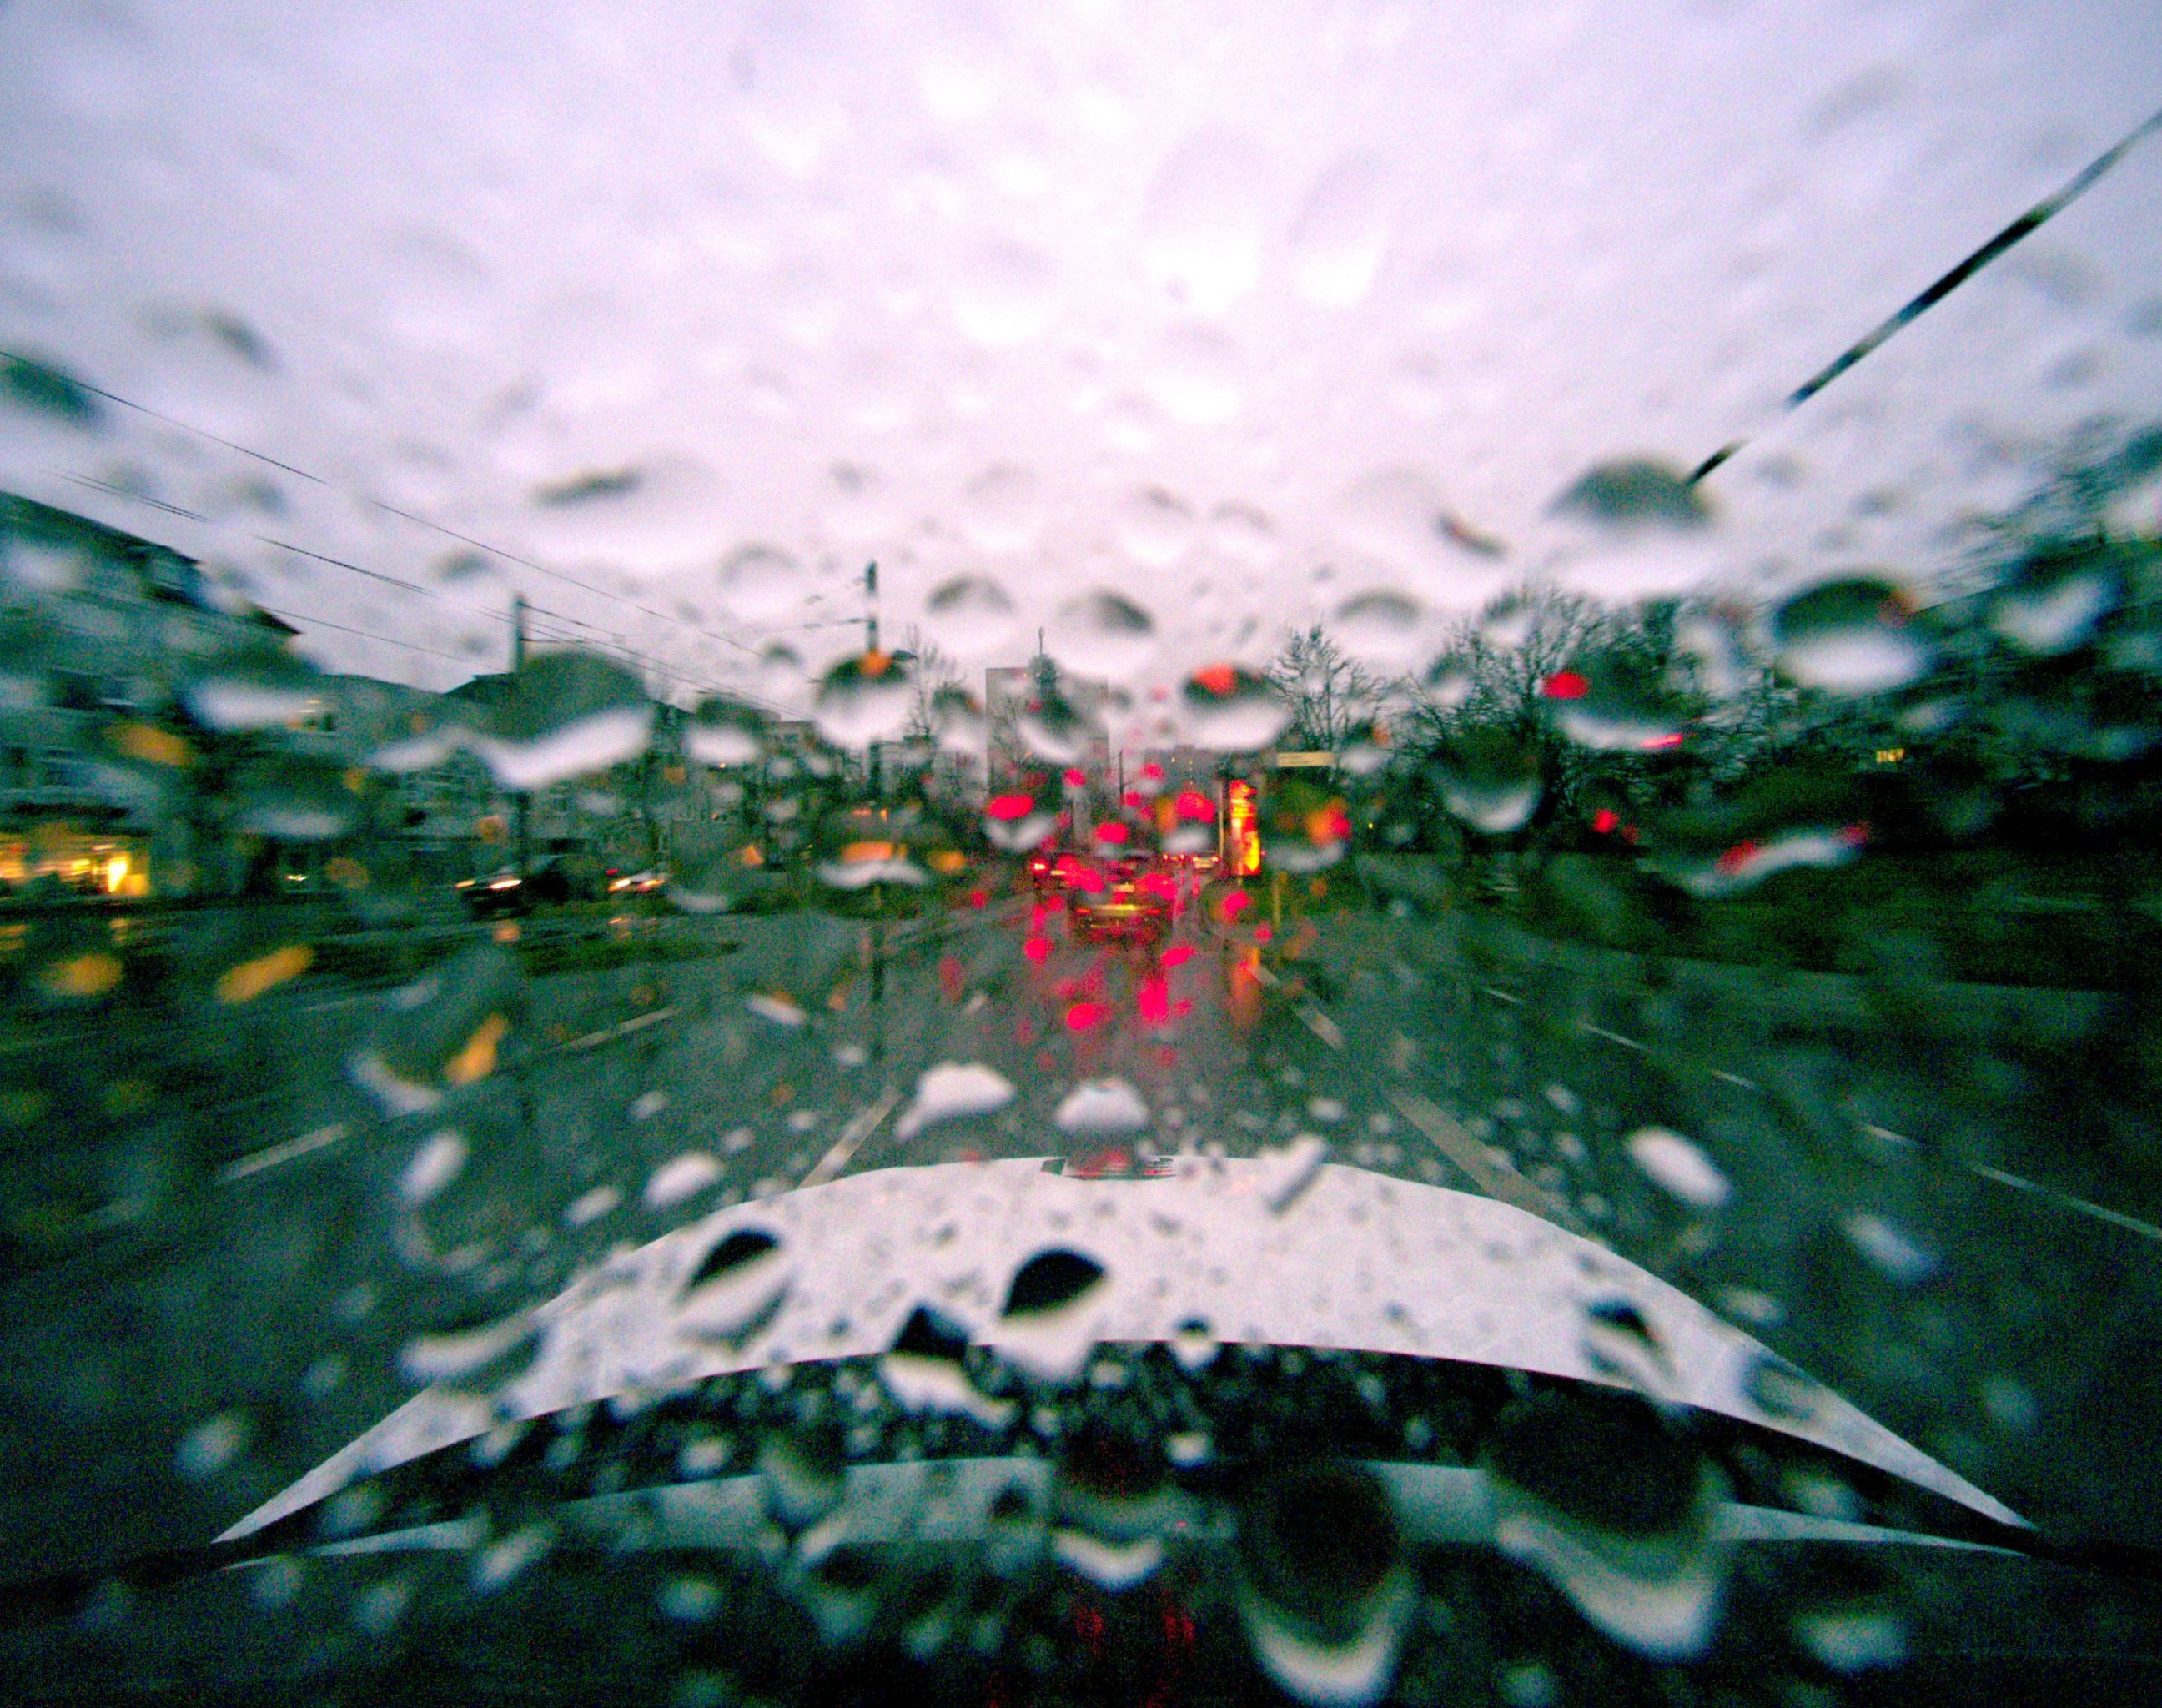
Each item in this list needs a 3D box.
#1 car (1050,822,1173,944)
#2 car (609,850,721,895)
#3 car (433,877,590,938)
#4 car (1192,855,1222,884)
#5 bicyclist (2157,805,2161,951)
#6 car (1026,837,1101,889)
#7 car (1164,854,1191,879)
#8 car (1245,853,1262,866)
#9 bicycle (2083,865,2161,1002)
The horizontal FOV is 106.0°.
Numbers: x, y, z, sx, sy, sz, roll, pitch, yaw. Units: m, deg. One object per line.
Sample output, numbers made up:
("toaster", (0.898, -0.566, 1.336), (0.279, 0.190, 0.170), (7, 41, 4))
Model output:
("car", (0.627, 0.495, 15.336), (1.985, 1.976, 4.072), (0, -1, 3))
("car", (-15.448, 0.661, 30.609), (1.582, 1.529, 4.934), (0, -1, 1))
("car", (-16.738, 1.519, 24.216), (1.798, 1.606, 4.000), (0, -1, 0))
("car", (8.559, 1.016, 55.120), (1.844, 1.891, 4.012), (0, -1, 11))
("bicyclist", (10.970, 0.234, 7.555), (0.748, 1.430, 0.928), (0, -1, 4))
("car", (-0.526, 0.336, 29.161), (1.982, 1.712, 4.334), (0, -1, 8))
("car", (7.650, 0.980, 64.345), (1.761, 1.891, 3.653), (0, -1, 11))
("car", (20.039, 0.643, 94.728), (1.527, 1.513, 3.348), (0, -1, 6))
("bicycle", (10.941, 0.727, 7.609), (1.958, 1.215, 1.040), (-2, 1, -2))
